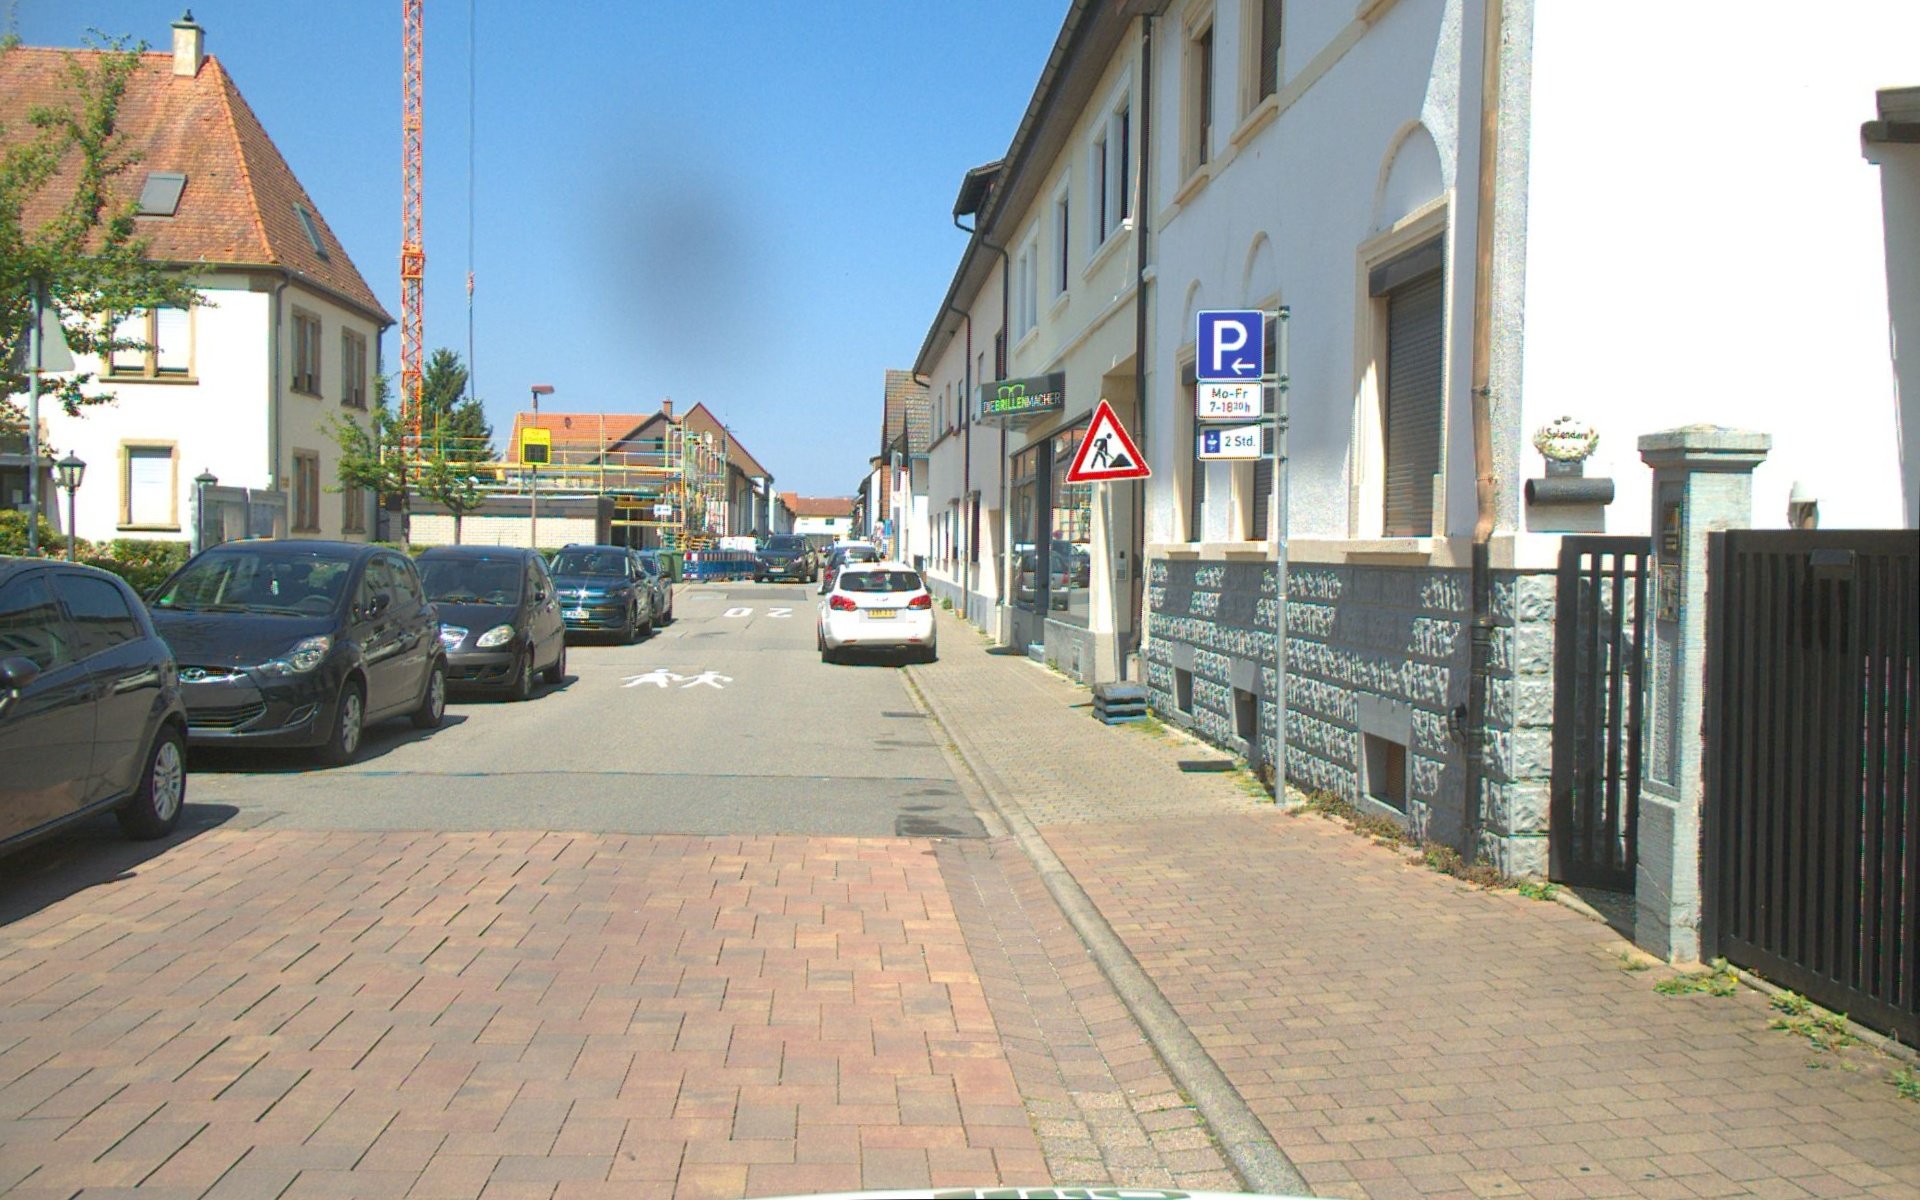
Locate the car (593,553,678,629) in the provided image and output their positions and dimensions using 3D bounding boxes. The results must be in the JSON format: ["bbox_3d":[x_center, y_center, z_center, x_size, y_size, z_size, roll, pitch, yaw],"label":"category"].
[{"bbox_3d":[-6.816,-0.229,35.025,1.408,1.500,3.782,0,1,-6],"label":"car"}]

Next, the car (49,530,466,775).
[{"bbox_3d":[-5.332,0.295,13.162,1.779,1.632,4.022,1,2,-3],"label":"car"}]

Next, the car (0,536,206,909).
[{"bbox_3d":[-4.844,0.475,7.337,1.670,1.522,3.851,1,2,-8],"label":"car"}]

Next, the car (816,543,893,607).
[{"bbox_3d":[-2.984,-0.733,46.105,1.849,1.582,3.889,-3,3,-7],"label":"car"}]

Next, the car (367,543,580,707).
[{"bbox_3d":[-5.435,0.203,18.885,1.606,1.657,3.765,1,2,-5],"label":"car"}]

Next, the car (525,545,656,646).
[{"bbox_3d":[-6.529,-0.133,29.606,1.791,1.658,4.212,1,2,-6],"label":"car"}]

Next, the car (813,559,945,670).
[{"bbox_3d":[-1.369,0.158,26.295,1.850,1.568,4.238,1,2,-6],"label":"car"}]

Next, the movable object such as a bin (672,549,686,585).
[{"bbox_3d":[-9.271,-1.087,54.589,0.424,1.175,0.363,0,2,-14],"label":"movable object such as a bin"}]

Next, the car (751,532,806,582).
[{"bbox_3d":[-6.437,-1.541,58.722,1.845,1.697,4.149,1,2,-6],"label":"car"}]

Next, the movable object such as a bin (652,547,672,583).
[{"bbox_3d":[-9.748,-1.141,54.051,0.611,1.175,0.675,0,2,-12],"label":"movable object such as a bin"}]

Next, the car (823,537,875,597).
[{"bbox_3d":[-3.478,-1.051,51.254,1.533,1.640,3.541,1,4,-5],"label":"car"}]
